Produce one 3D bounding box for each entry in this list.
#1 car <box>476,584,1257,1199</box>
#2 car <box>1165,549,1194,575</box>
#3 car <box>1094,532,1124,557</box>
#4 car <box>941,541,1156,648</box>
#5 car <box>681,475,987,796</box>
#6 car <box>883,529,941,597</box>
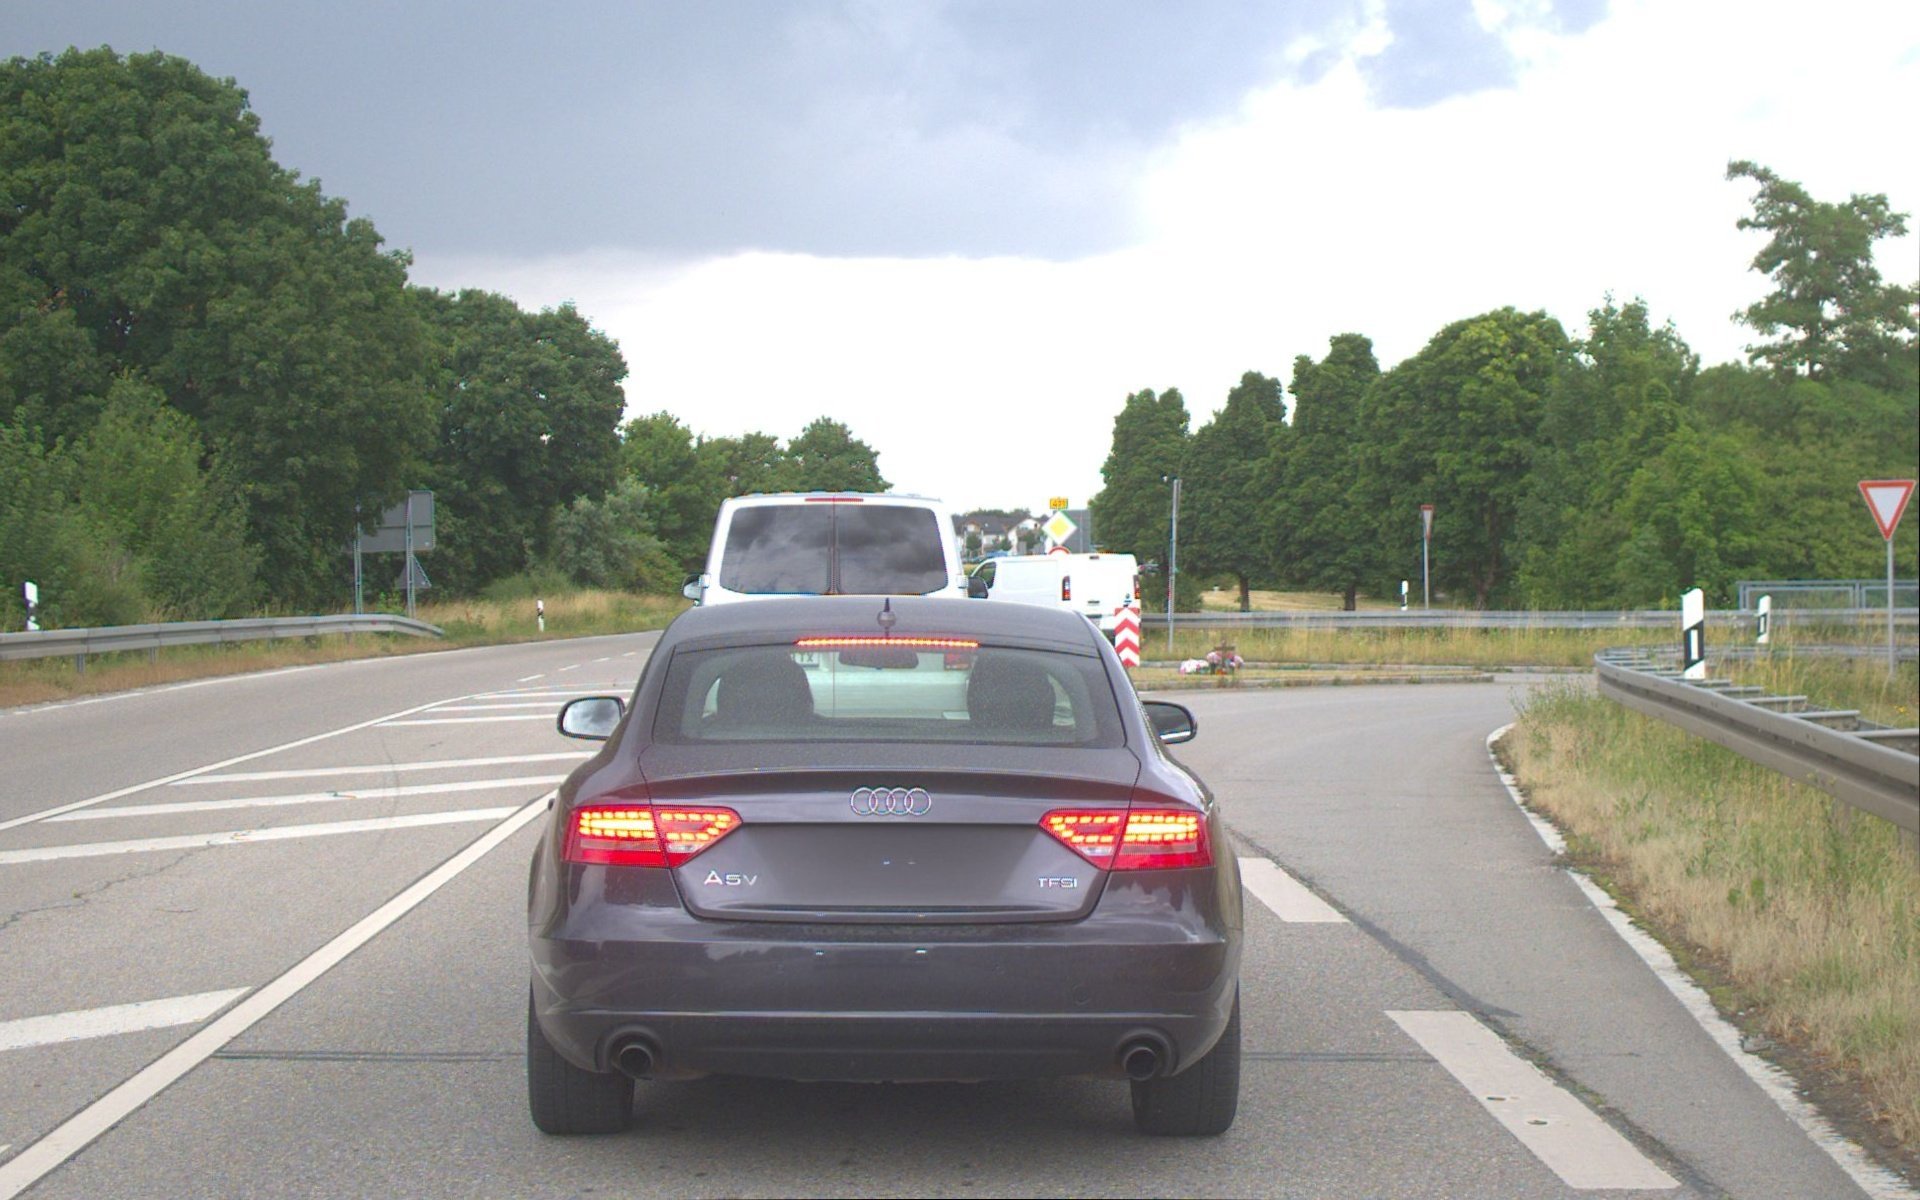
[{"bbox_3d":[-0.268,0.669,9.524,1.779,1.394,3.337,0,1,-2],"label":"car"},{"bbox_3d":[14.980,-2.585,234.537,1.876,1.686,4.000,1,1,4],"label":"car"},{"bbox_3d":[10.442,-3.900,241.702,1.993,1.686,4.000,1,1,1],"label":"car"},{"bbox_3d":[1.746,-0.142,69.687,2.081,2.057,4.876,0,1,-30],"label":"car"},{"bbox_3d":[-0.855,0.184,23.736,1.910,2.007,4.000,1,1,-2],"label":"car"},{"bbox_3d":[-1.755,-1.370,126.451,1.993,2.400,4.000,2,1,0],"label":"car"}]
